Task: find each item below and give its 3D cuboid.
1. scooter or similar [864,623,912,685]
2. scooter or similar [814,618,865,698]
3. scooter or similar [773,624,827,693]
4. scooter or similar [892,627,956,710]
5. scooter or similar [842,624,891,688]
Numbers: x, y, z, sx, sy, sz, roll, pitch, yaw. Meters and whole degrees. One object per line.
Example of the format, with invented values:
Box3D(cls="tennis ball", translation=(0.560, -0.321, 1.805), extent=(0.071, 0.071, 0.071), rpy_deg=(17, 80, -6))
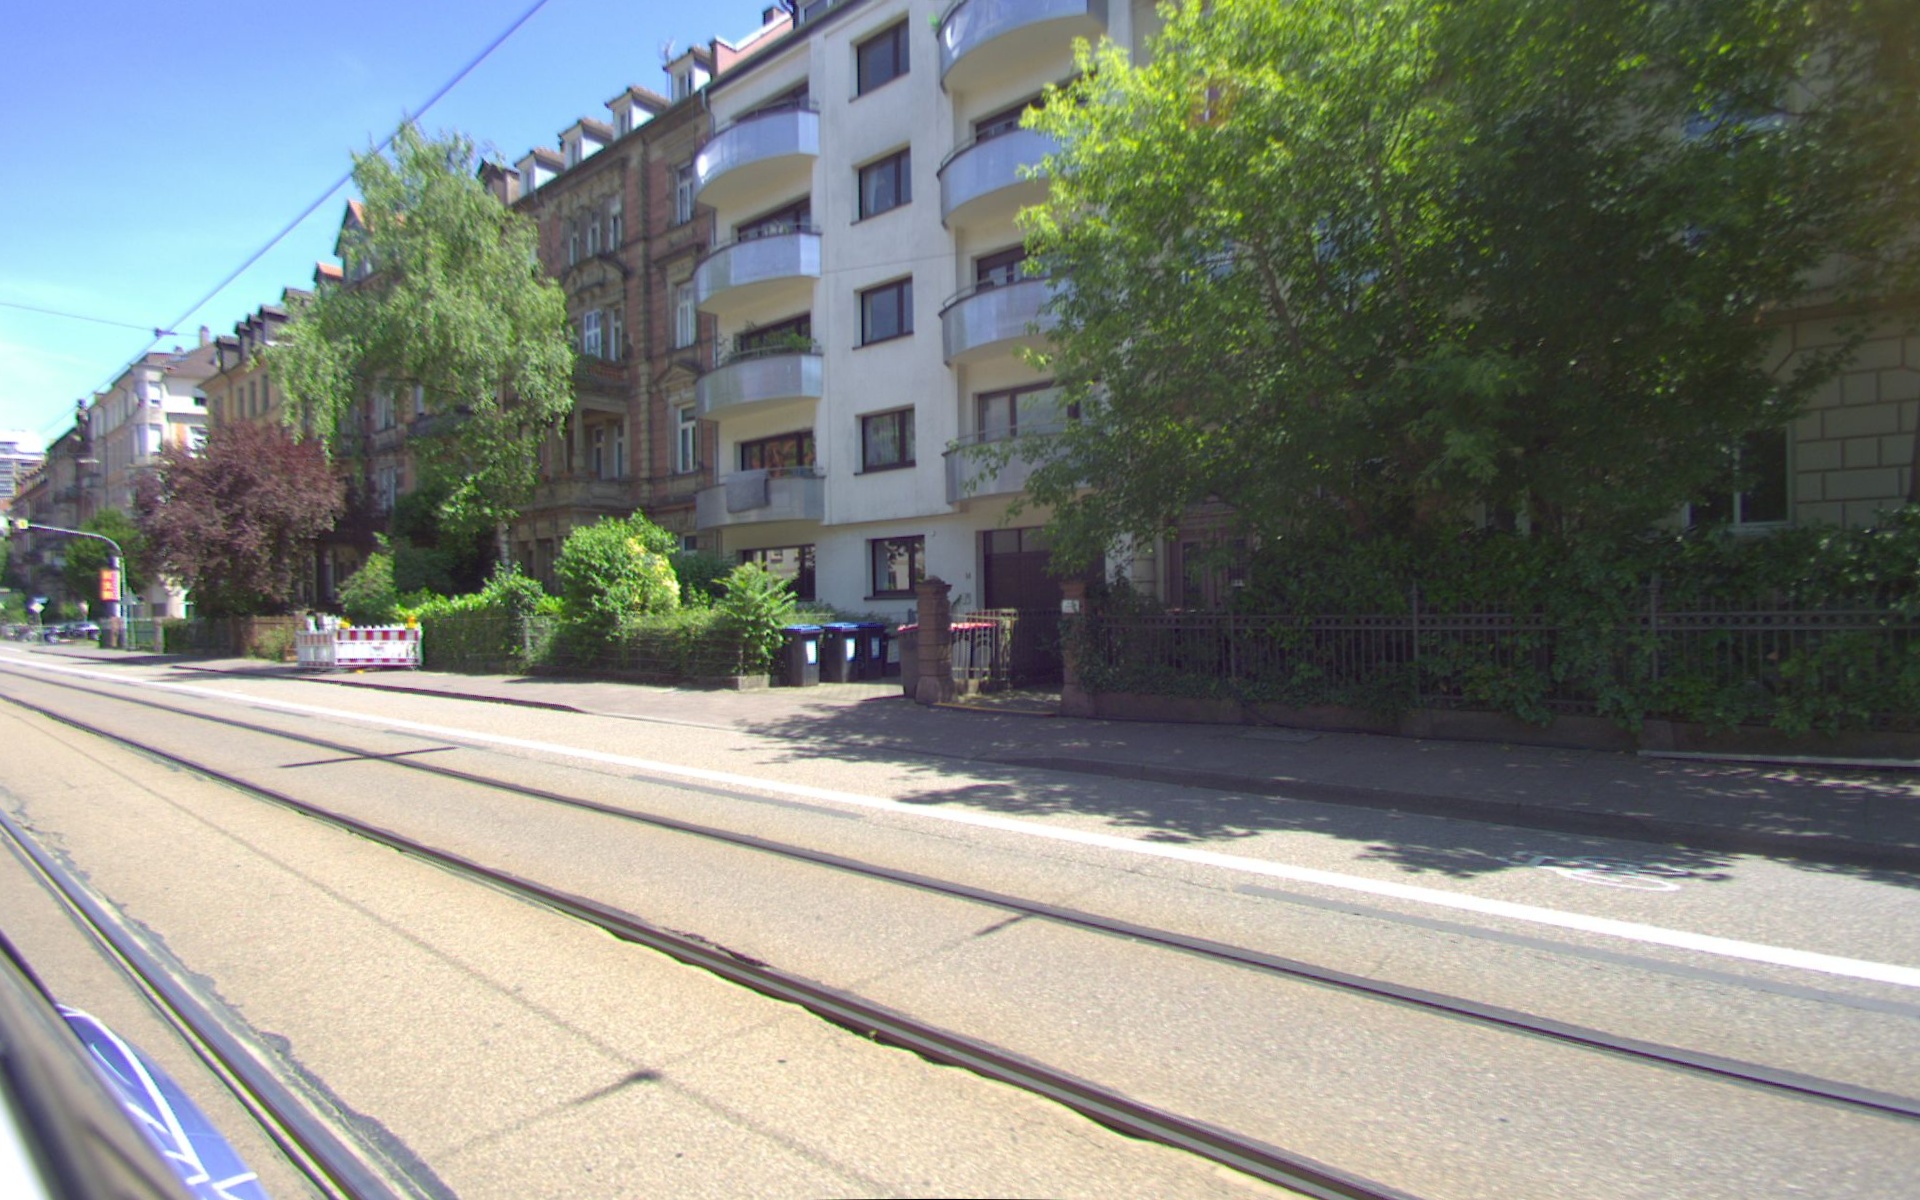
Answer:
Box3D(cls="scooter or similar", translation=(-1.391, 1.028, 19.572), extent=(0.693, 1.166, 0.610), rpy_deg=(-1, -2, 31))
Box3D(cls="scooter or similar", translation=(-2.182, 1.042, 18.357), extent=(0.693, 1.410, 0.610), rpy_deg=(-1, -1, 31))
Box3D(cls="scooter or similar", translation=(-2.813, 1.020, 17.800), extent=(0.693, 1.166, 0.610), rpy_deg=(-2, -1, 31))
Box3D(cls="scooter or similar", translation=(-0.528, 0.991, 14.811), extent=(0.694, 1.166, 0.609), rpy_deg=(-2, -1, 38))
Box3D(cls="scooter or similar", translation=(-1.745, 1.045, 18.968), extent=(0.693, 1.166, 0.610), rpy_deg=(-1, -2, 31))
